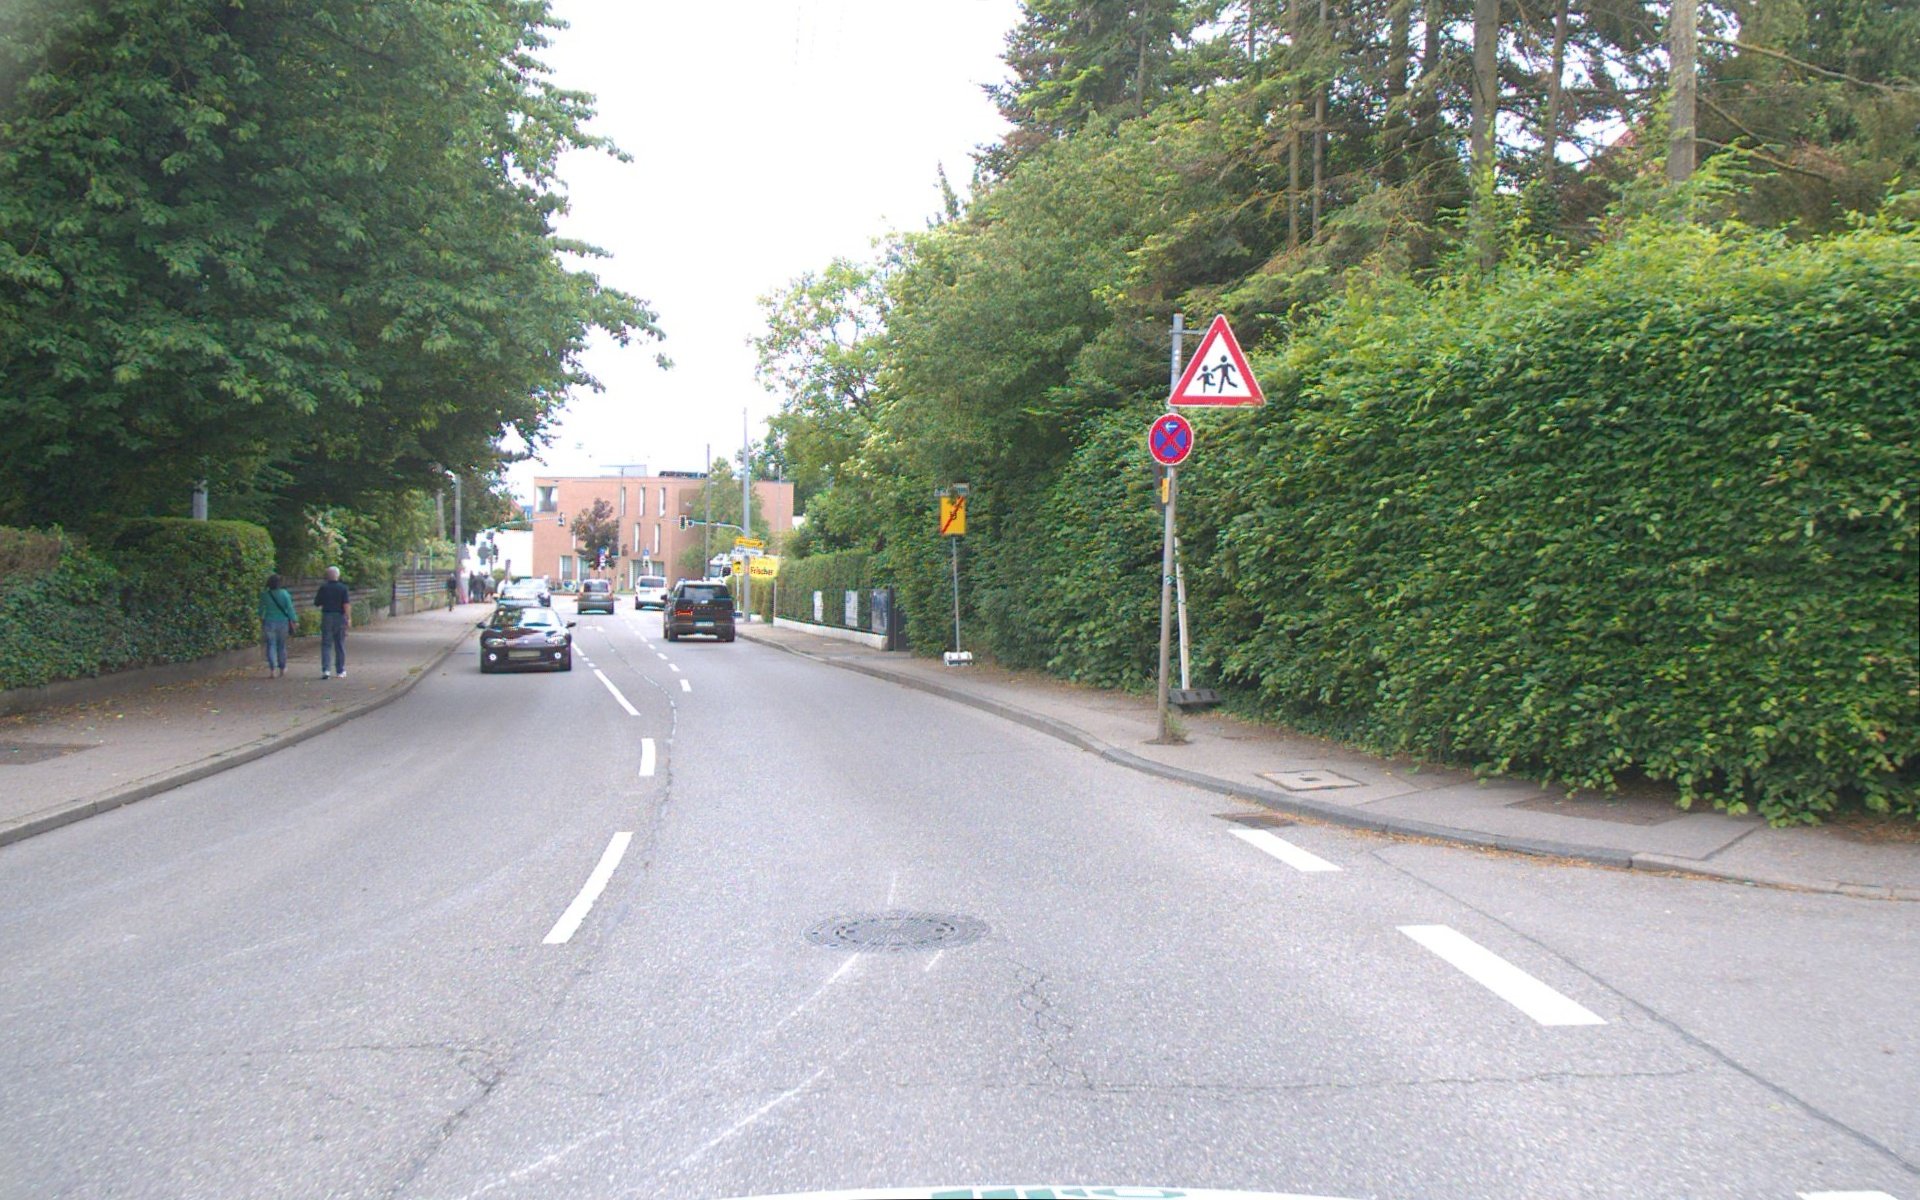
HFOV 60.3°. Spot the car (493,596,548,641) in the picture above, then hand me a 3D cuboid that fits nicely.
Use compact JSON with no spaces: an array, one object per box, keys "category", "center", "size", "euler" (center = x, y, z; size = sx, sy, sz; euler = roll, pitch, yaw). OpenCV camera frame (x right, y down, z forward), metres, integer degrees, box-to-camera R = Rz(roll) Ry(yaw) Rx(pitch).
[{"category":"car","center":[-15.981,0.639,60.057],"size":[1.694,1.497,3.512],"euler":[-1,1,-18]}]

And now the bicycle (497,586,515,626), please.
[{"category":"bicycle","center":[-21.059,0.267,76.720],"size":[0.746,1.775,1.865],"euler":[-1,1,-14]}]

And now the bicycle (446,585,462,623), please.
[{"category":"bicycle","center":[-23.361,0.182,76.447],"size":[0.552,1.705,1.974],"euler":[1,0,-14]}]

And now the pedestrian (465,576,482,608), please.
[{"category":"pedestrian","center":[-28.670,-0.445,97.440],"size":[0.746,1.869,0.605],"euler":[1,1,-42]}]

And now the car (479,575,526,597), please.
[{"category":"car","center":[-44.149,-1.389,159.670],"size":[3.964,2.048,1.971],"euler":[0,1,-41]}]

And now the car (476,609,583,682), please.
[{"category":"car","center":[-8.093,0.820,31.334],"size":[1.660,1.197,3.778],"euler":[-1,1,-10]}]

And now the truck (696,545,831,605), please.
[{"category":"truck","center":[-16.105,-2.006,136.516],"size":[3.083,4.817,11.711],"euler":[2,1,44]}]

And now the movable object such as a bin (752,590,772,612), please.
[{"category":"movable object such as a bin","center":[-10.075,0.057,84.304],"size":[0.669,1.092,0.712],"euler":[2,-1,40]}]

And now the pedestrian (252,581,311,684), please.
[{"category":"pedestrian","center":[-10.259,0.486,25.000],"size":[0.661,1.474,0.751],"euler":[6,-2,-26]}]

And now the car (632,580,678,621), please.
[{"category":"car","center":[-17.528,-0.001,95.142],"size":[1.923,2.048,4.426],"euler":[4,2,-3]}]

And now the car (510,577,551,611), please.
[{"category":"car","center":[-22.406,-0.333,86.238],"size":[1.803,1.659,4.261],"euler":[-1,2,-18]}]

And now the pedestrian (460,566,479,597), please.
[{"category":"pedestrian","center":[-28.859,-1.092,97.311],"size":[0.808,1.794,0.857],"euler":[1,1,-36]}]

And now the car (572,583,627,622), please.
[{"category":"car","center":[-17.033,0.097,78.296],"size":[1.855,1.735,3.999],"euler":[1,1,-2]}]

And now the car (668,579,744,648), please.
[{"category":"car","center":[-7.447,0.378,48.206],"size":[1.958,1.915,3.988],"euler":[1,0,-12]}]

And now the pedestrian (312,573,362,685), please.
[{"category":"pedestrian","center":[-9.584,0.439,25.426],"size":[0.621,1.691,0.912],"euler":[1,0,-26]}]
